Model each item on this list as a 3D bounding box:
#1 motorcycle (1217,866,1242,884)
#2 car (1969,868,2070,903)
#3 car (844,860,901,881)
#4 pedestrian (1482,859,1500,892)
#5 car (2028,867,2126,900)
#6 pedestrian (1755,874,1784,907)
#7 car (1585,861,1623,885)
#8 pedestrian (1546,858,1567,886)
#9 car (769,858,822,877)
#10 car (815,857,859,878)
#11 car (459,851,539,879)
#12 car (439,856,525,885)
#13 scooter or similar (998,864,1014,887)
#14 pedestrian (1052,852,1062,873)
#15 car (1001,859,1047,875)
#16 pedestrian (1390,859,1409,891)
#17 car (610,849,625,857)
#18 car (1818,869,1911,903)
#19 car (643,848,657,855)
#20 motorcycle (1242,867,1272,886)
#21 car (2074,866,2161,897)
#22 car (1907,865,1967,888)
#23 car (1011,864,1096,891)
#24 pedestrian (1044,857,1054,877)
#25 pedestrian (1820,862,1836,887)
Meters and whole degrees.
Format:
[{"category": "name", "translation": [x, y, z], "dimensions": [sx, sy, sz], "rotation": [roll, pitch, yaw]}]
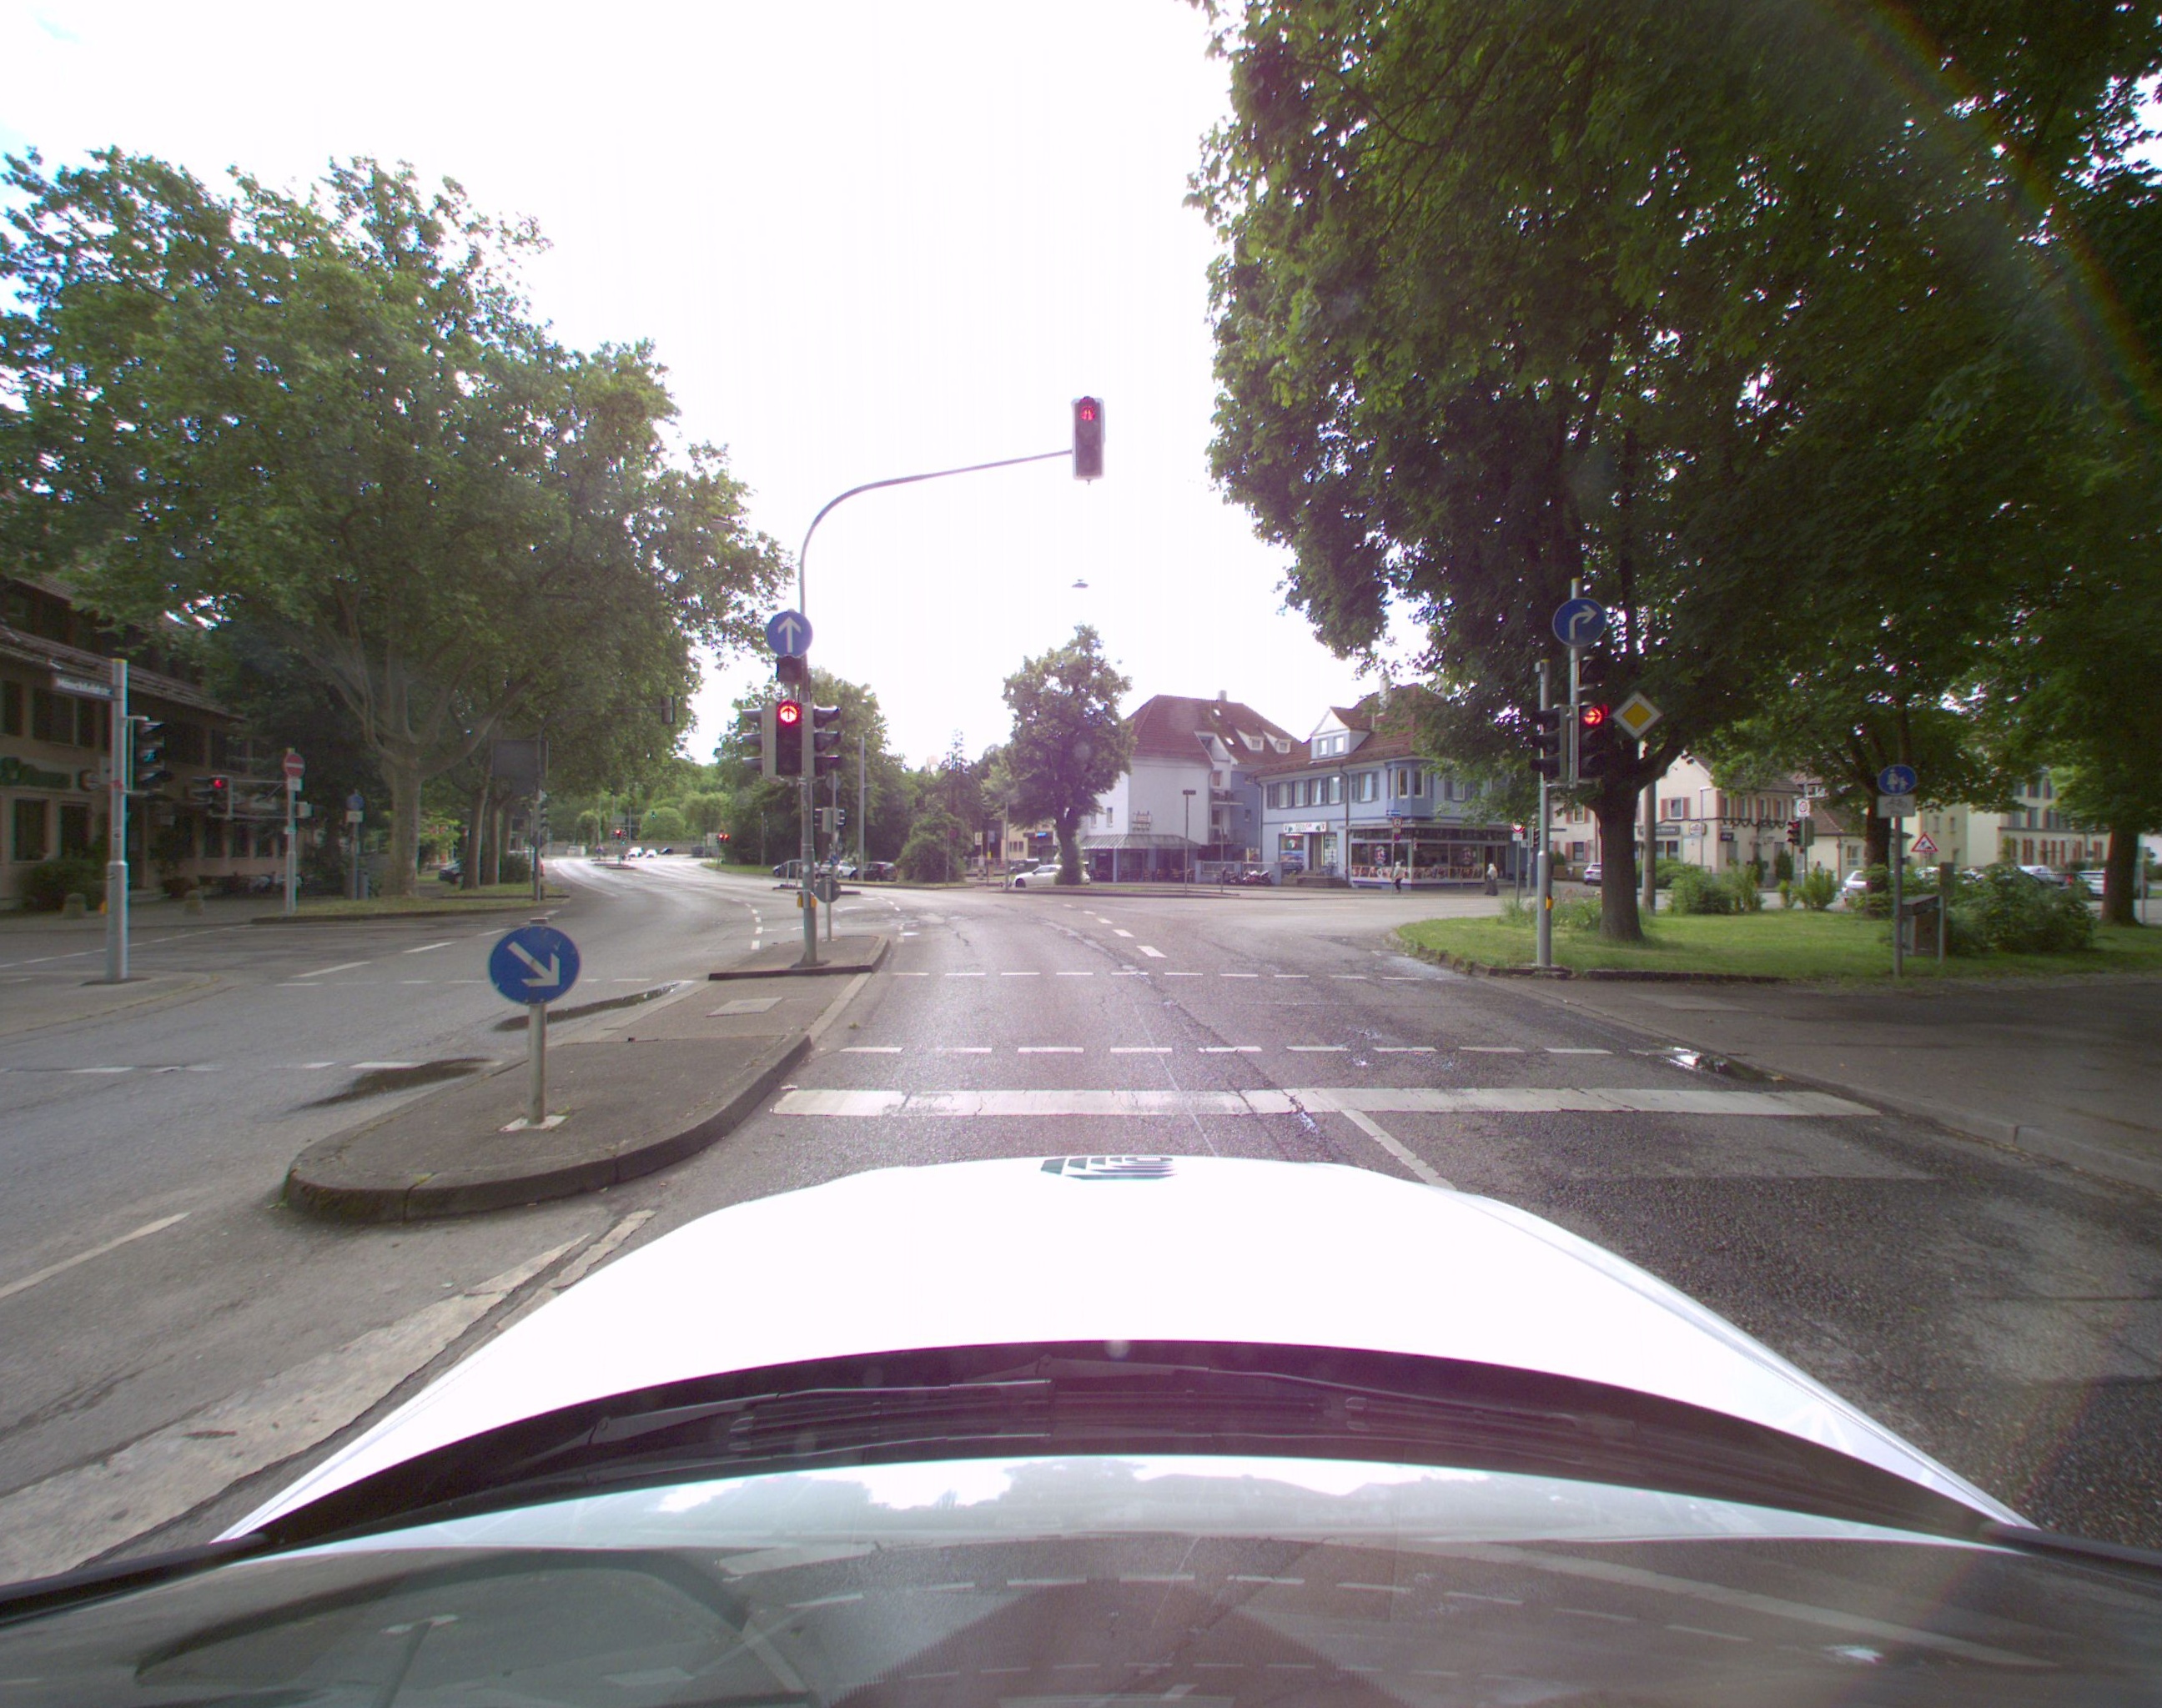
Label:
[{"category": "motorcycle", "translation": [9.136, 1.309, 50.049], "dimensions": [1.441, 1.088, 0.527], "rotation": [-1, -1, 37]}, {"category": "car", "translation": [42.348, 1.379, 36.755], "dimensions": [3.731, 1.457, 1.640], "rotation": [0, 0, -17]}, {"category": "car", "translation": [-13.825, 1.057, 54.002], "dimensions": [3.285, 1.352, 1.791], "rotation": [0, 0, 29]}, {"category": "pedestrian", "translation": [19.707, 1.031, 39.171], "dimensions": [0.687, 1.560, 0.671], "rotation": [-1, -1, 33]}, {"category": "car", "translation": [47.082, 1.371, 38.518], "dimensions": [3.731, 1.457, 1.640], "rotation": [0, 0, -17]}, {"category": "pedestrian", "translation": [22.774, 1.190, 26.932], "dimensions": [0.505, 1.081, 0.514], "rotation": [0, -1, -13]}, {"category": "car", "translation": [32.460, 1.142, 50.622], "dimensions": [1.866, 1.391, 3.637], "rotation": [0, 0, 31]}, {"category": "pedestrian", "translation": [26.531, 0.985, 45.416], "dimensions": [0.671, 1.560, 0.743], "rotation": [0, -1, -13]}, {"category": "car", "translation": [-22.588, 1.030, 64.517], "dimensions": [3.742, 1.465, 1.629], "rotation": [0, 0, 20]}, {"category": "car", "translation": [-20.134, 1.089, 67.408], "dimensions": [1.848, 1.640, 3.768], "rotation": [0, 0, 13]}, {"category": "car", "translation": [-36.458, 0.682, 51.177], "dimensions": [4.015, 1.684, 1.979], "rotation": [0, -1, -34]}, {"category": "car", "translation": [-35.628, 0.957, 48.607], "dimensions": [4.015, 1.684, 1.979], "rotation": [0, -1, -34]}, {"category": "scooter or similar", "translation": [-3.951, 1.140, 42.847], "dimensions": [0.439, 1.175, 1.442], "rotation": [-1, -1, 11]}, {"category": "pedestrian", "translation": [-1.758, 0.617, 59.401], "dimensions": [0.538, 1.560, 0.470], "rotation": [-1, -1, 15]}, {"category": "car", "translation": [-5.319, 1.238, 75.918], "dimensions": [3.948, 1.442, 1.742], "rotation": [0, -1, -18]}, {"category": "pedestrian", "translation": [16.075, 1.057, 41.093], "dimensions": [0.724, 1.560, 0.773], "rotation": [-1, -1, 33]}, {"category": "car", "translation": [-87.078, -0.162, 152.967], "dimensions": [3.293, 1.486, 1.594], "rotation": [-1, -2, 43]}, {"category": "car", "translation": [31.869, 1.270, 33.153], "dimensions": [3.007, 1.267, 1.455], "rotation": [0, -1, -17]}, {"category": "car", "translation": [-83.219, -0.463, 157.282], "dimensions": [2.988, 1.417, 1.509], "rotation": [-1, -2, 43]}, {"category": "motorcycle", "translation": [10.430, 1.320, 48.246], "dimensions": [1.609, 1.088, 0.631], "rotation": [-1, -1, 34]}, {"category": "car", "translation": [52.598, 1.371, 41.256], "dimensions": [3.731, 1.457, 1.640], "rotation": [0, 0, -17]}, {"category": "car", "translation": [56.683, 1.482, 53.944], "dimensions": [3.871, 1.447, 1.753], "rotation": [0, -1, -28]}, {"category": "car", "translation": [-1.593, 1.287, 45.934], "dimensions": [4.654, 1.410, 1.914], "rotation": [0, -1, 37]}, {"category": "pedestrian", "translation": [-3.234, 1.303, 81.116], "dimensions": [0.838, 2.014, 1.051], "rotation": [0, -1, -12]}, {"category": "pedestrian", "translation": [46.843, 1.295, 51.045], "dimensions": [0.504, 1.560, 0.507], "rotation": [0, -1, -13]}]
